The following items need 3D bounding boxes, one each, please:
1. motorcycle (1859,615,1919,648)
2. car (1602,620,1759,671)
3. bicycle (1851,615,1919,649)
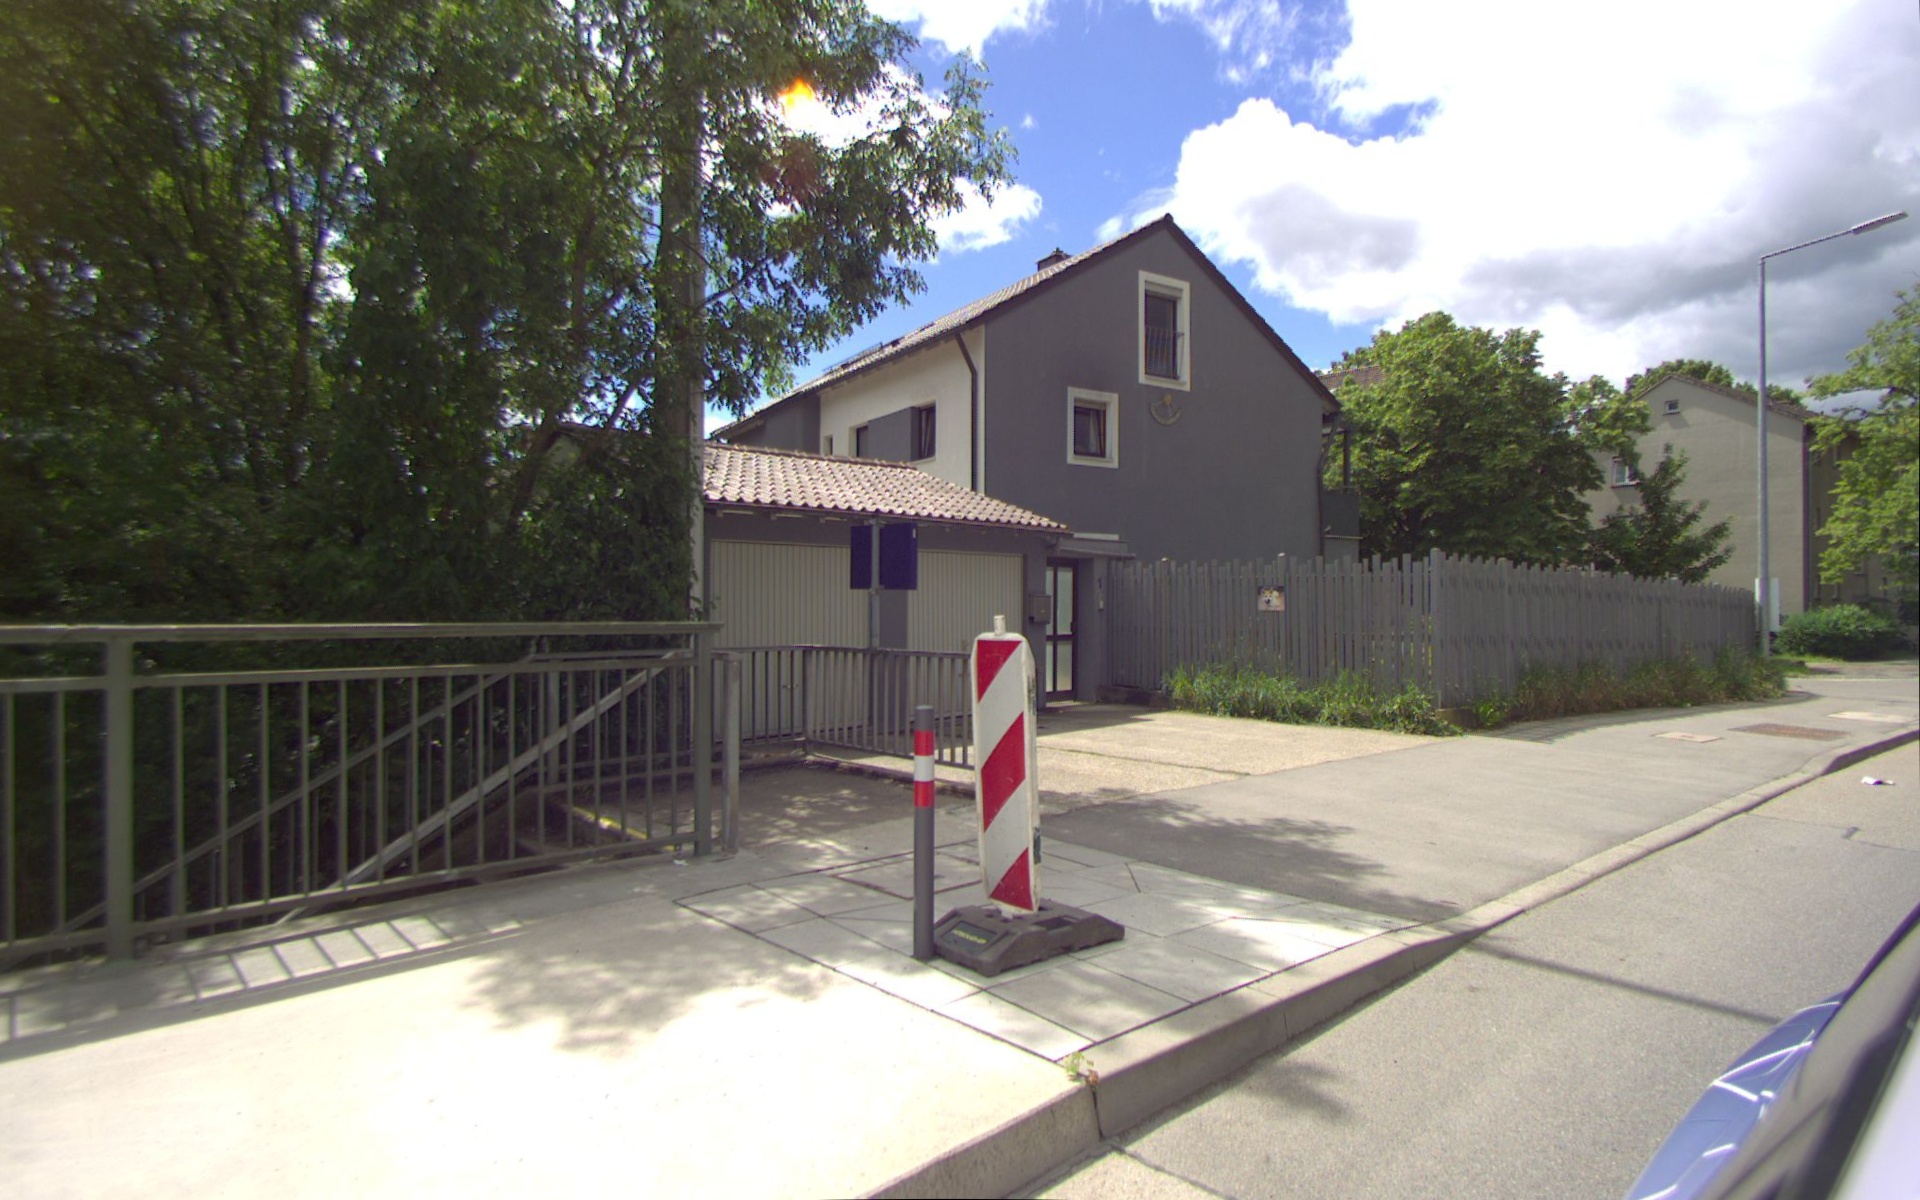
[{"bbox_3d":[38.698,1.302,41.839,0.667,1.298,2.214,0,0,-29],"label":"motorcycle"},{"bbox_3d":[23.978,1.466,33.761,3.987,1.574,1.908,-1,-2,45],"label":"car"},{"bbox_3d":[38.012,1.297,41.456,0.667,1.298,2.176,0,0,-29],"label":"bicycle"}]
